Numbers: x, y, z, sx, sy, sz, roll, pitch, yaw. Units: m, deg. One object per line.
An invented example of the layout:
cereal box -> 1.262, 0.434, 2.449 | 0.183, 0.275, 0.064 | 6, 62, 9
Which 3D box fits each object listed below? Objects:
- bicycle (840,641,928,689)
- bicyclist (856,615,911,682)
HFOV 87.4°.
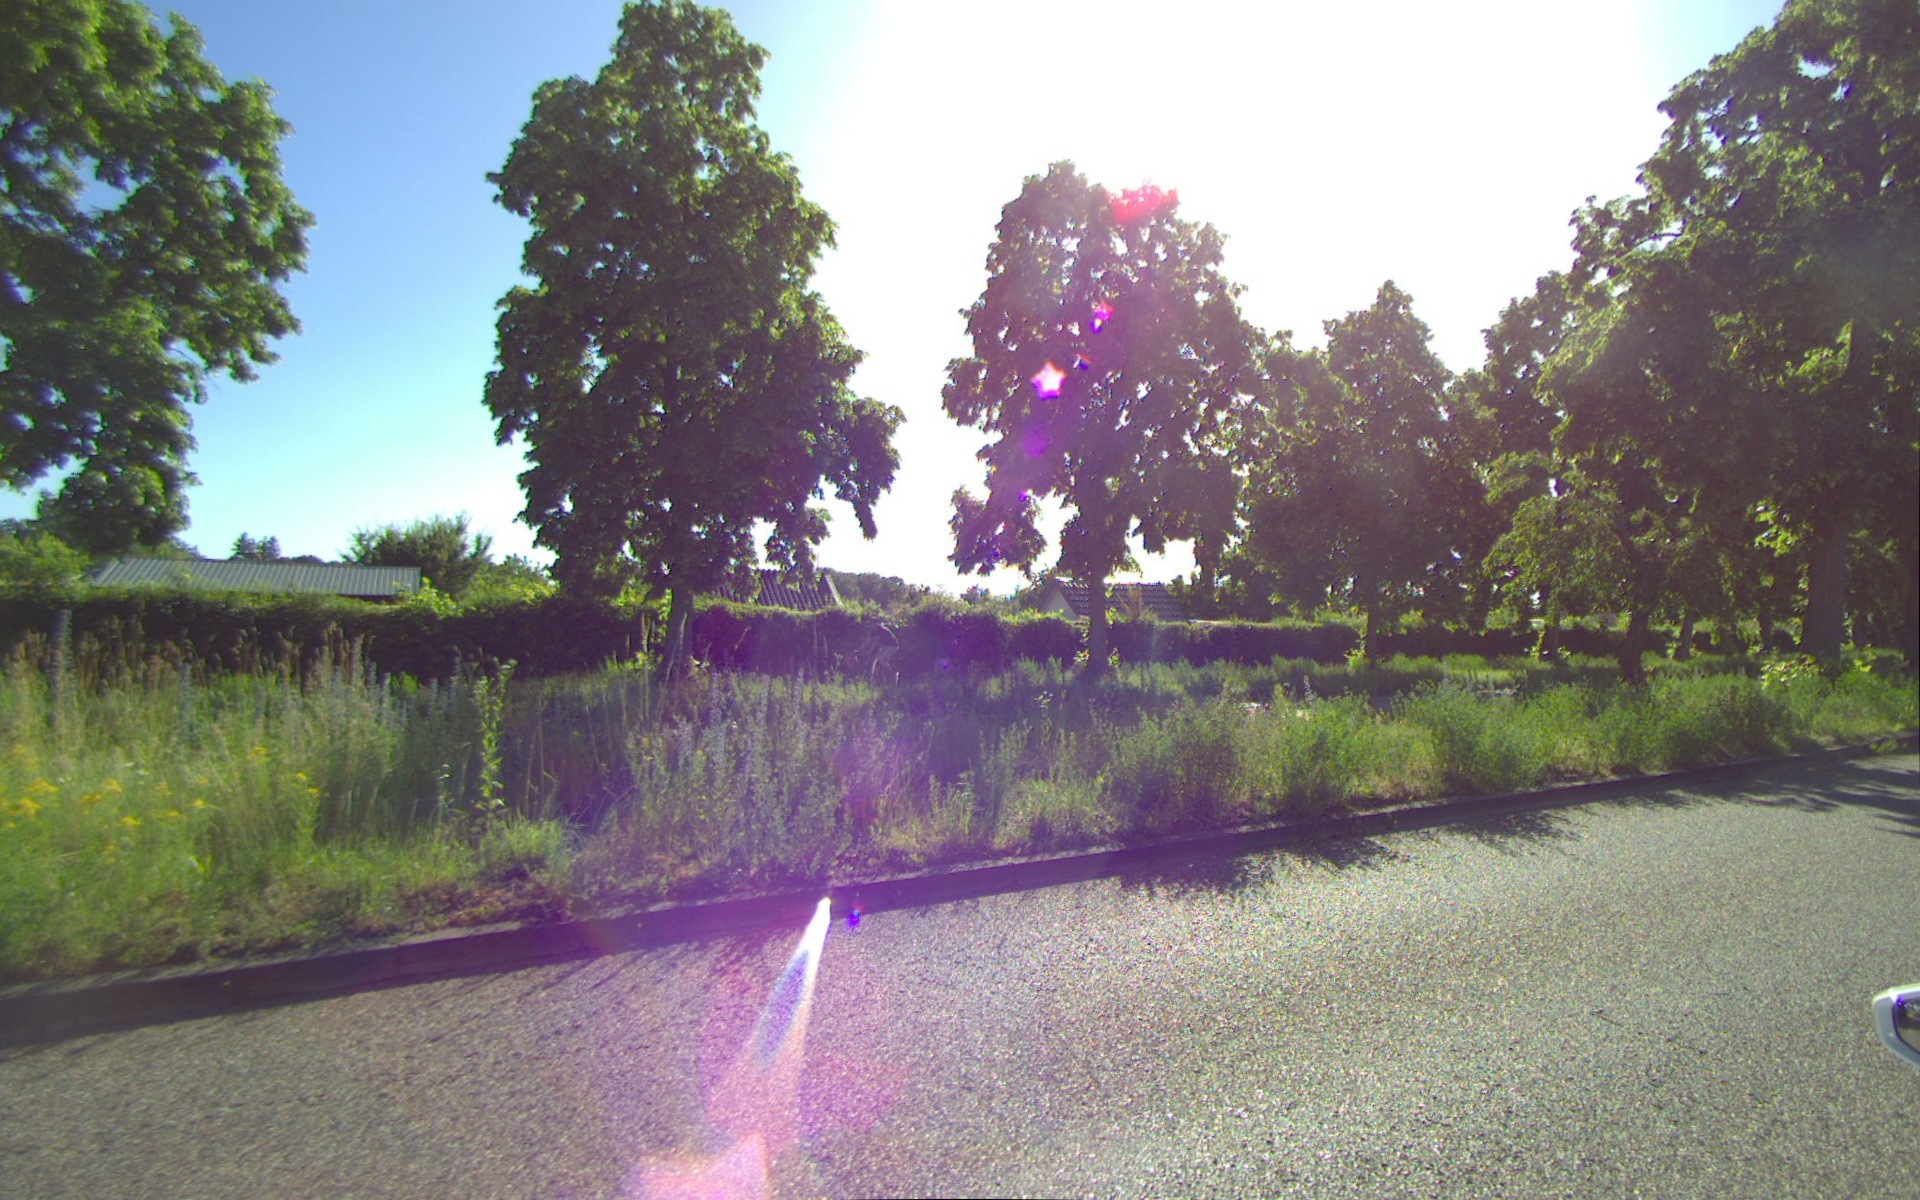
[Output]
bicycle -> -1.663, 1.404, 22.023 | 1.820, 1.009, 0.686 | 1, -1, -30
bicyclist -> -1.681, 1.049, 22.036 | 0.988, 1.439, 0.686 | 1, -1, -30
